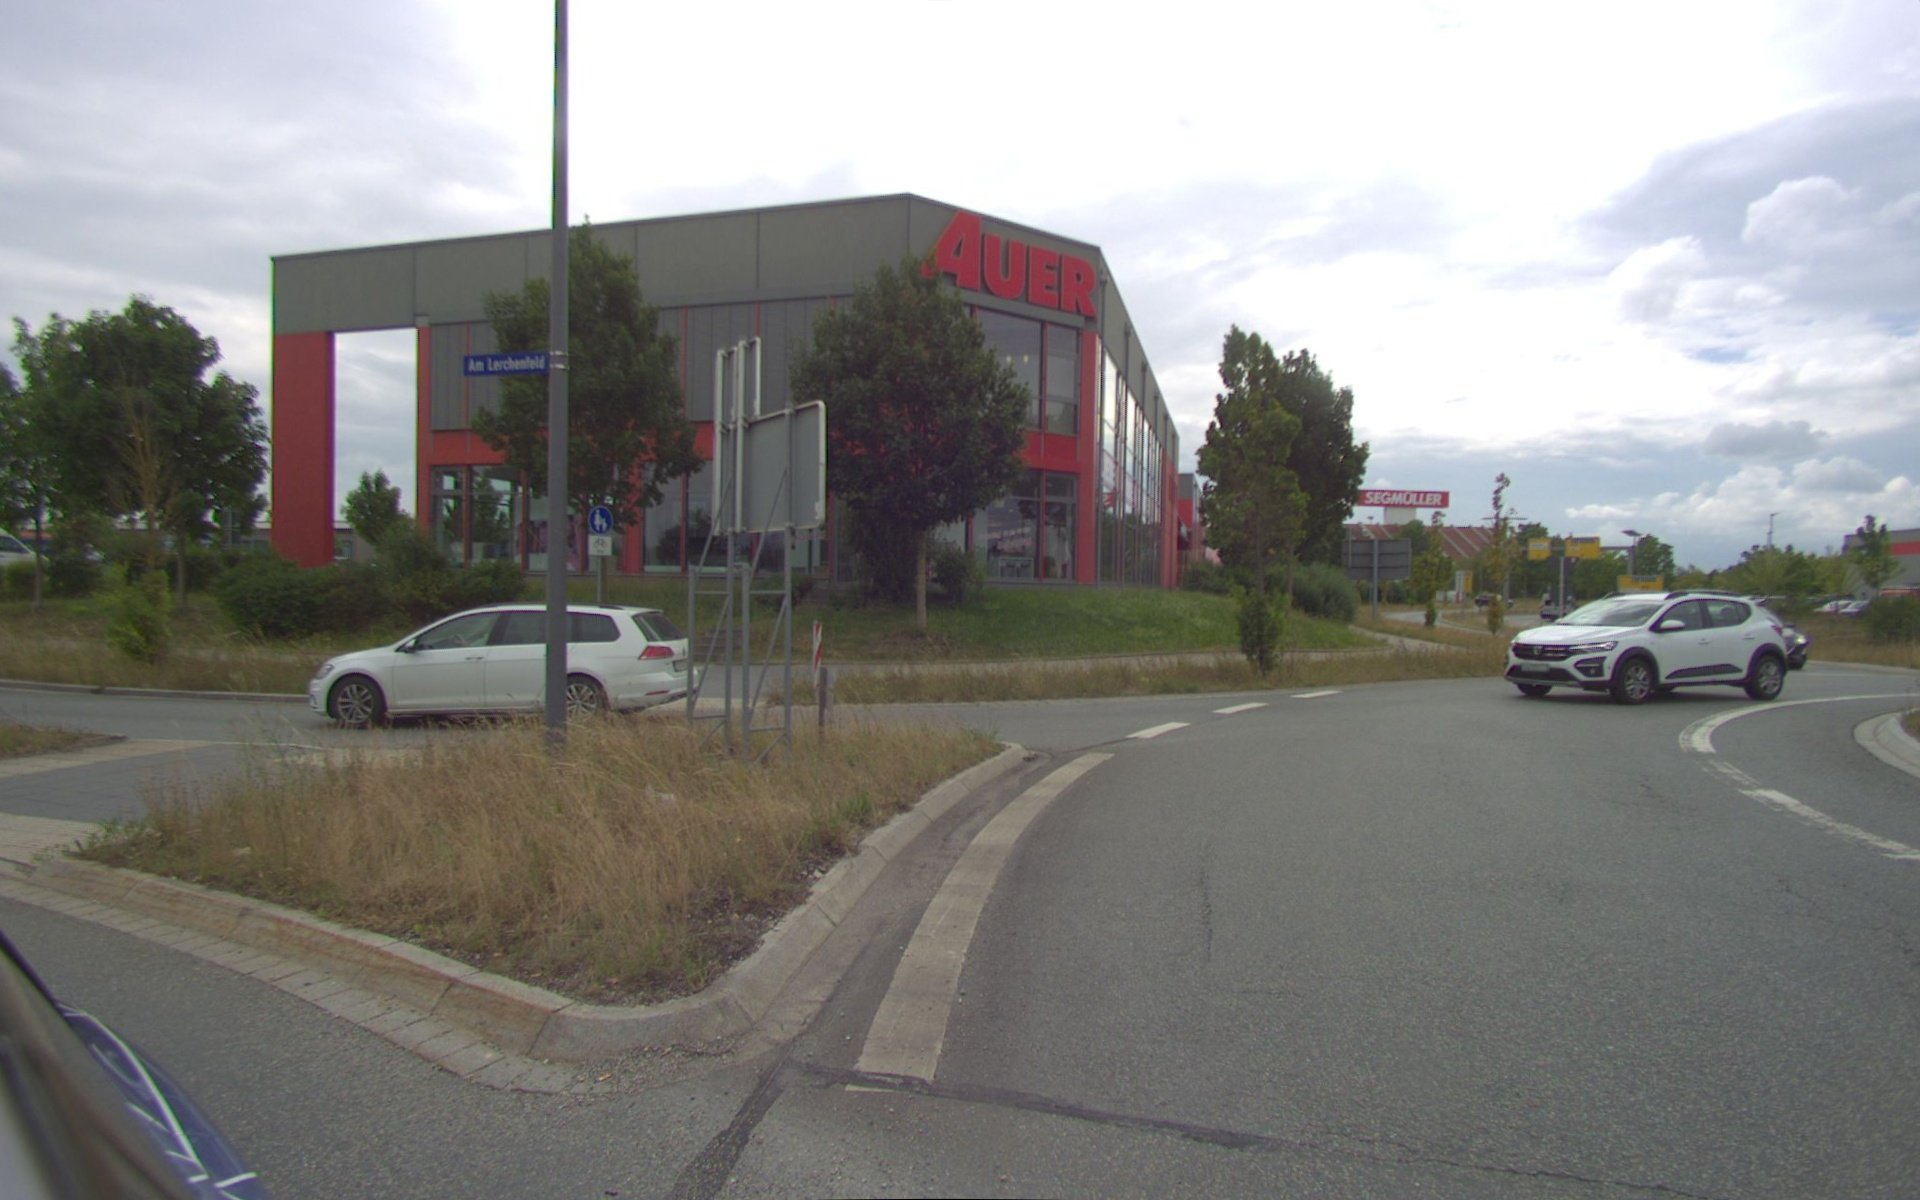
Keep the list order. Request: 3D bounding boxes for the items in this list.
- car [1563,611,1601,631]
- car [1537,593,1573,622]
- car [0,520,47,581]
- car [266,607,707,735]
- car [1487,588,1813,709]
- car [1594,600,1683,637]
[{"bbox_3d":[42.758,1.432,69.612,1.488,1.311,3.722,1,0,20],"label":"car"},{"bbox_3d":[55.005,0.640,93.486,2.277,2.404,5.643,3,3,36],"label":"car"},{"bbox_3d":[-43.042,-2.161,42.843,2.048,2.643,6.380,2,2,19],"label":"car"},{"bbox_3d":[-5.571,0.806,12.322,4.578,1.419,1.728,0,0,0],"label":"car"},{"bbox_3d":[9.937,0.684,14.638,4.016,1.570,1.739,1,-2,-17],"label":"car"},{"bbox_3d":[31.233,0.810,46.753,1.996,1.563,3.986,1,0,11],"label":"car"}]
